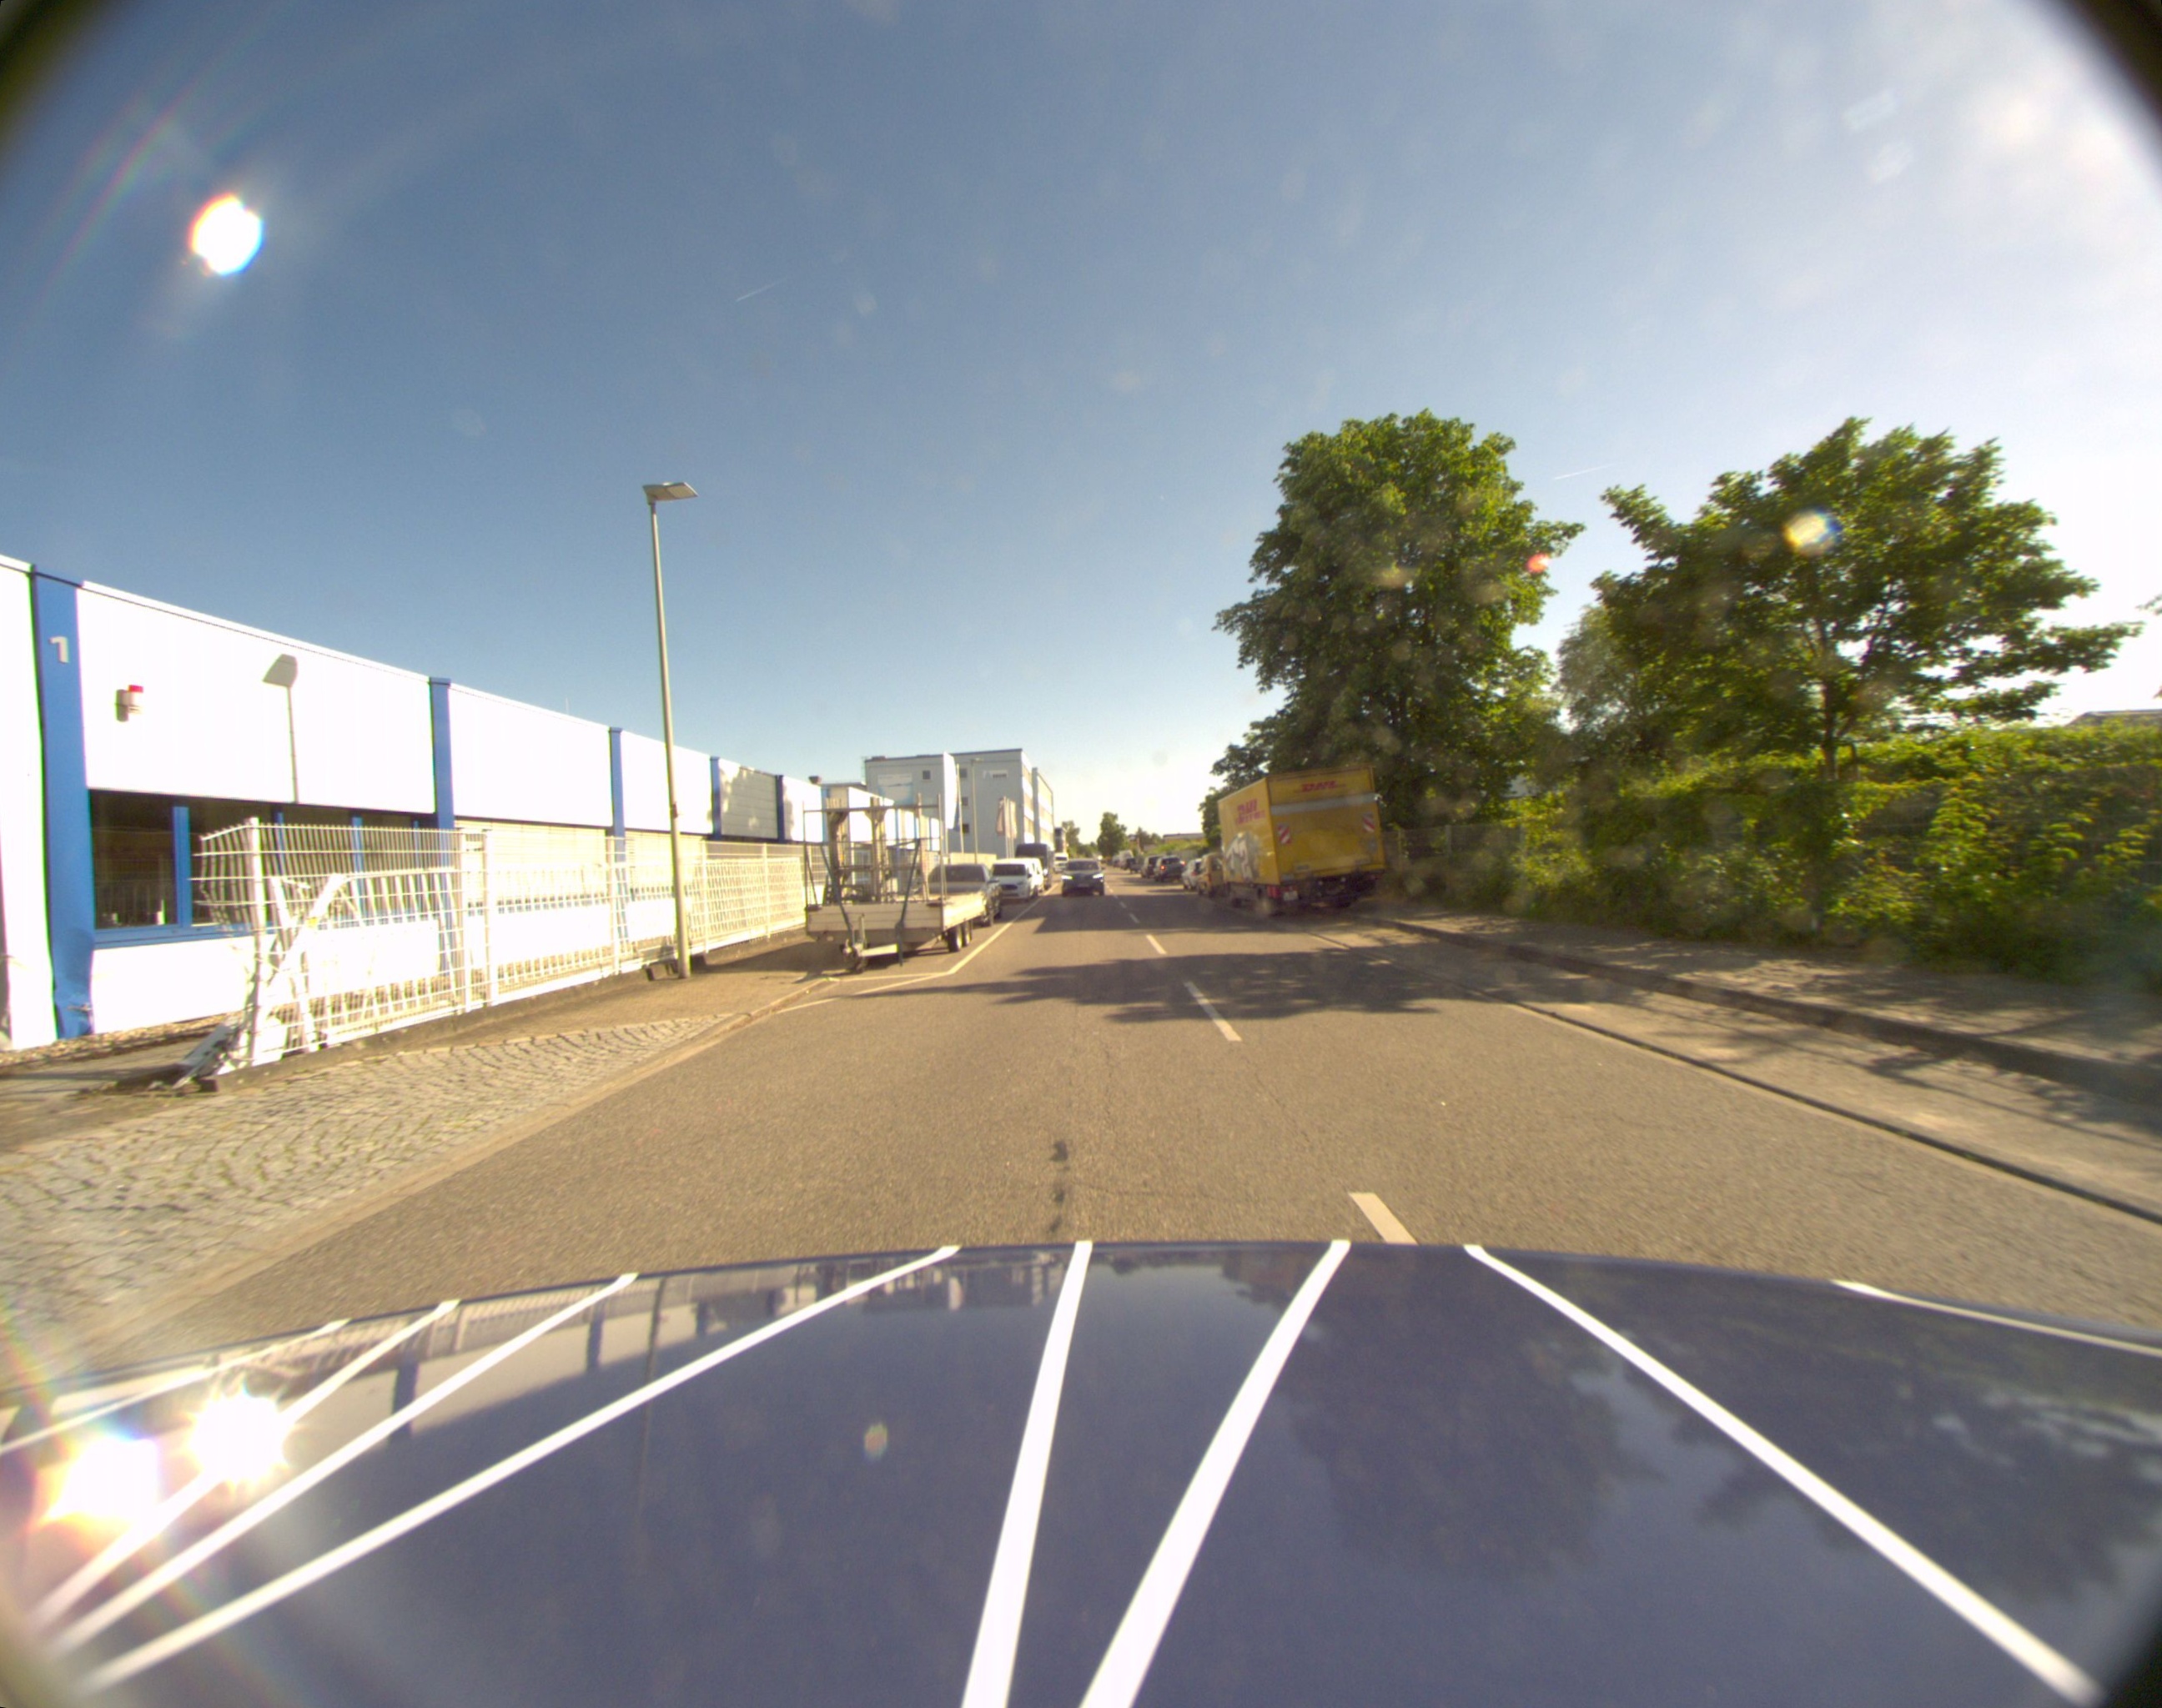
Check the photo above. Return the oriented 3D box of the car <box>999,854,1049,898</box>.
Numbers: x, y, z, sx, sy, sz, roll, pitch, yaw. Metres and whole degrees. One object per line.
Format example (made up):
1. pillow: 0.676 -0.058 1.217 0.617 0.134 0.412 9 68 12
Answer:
1. car: -2.734 1.016 37.561 1.890 1.836 5.103 -4 1 1

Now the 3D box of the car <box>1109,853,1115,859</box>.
1. car: 9.566 0.578 235.222 1.779 1.838 4.616 -4 0 4

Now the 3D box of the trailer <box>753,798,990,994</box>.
1. trailer: -3.280 0.581 13.527 2.466 2.657 5.701 -2 0 1

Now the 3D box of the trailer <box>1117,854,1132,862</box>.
1. trailer: 7.599 0.734 133.015 2.382 1.073 6.246 -6 -1 1

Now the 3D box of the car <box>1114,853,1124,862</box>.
1. car: 7.660 0.690 152.337 1.804 1.501 5.003 -6 0 2

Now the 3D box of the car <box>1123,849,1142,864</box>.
1. car: 6.787 0.329 101.126 2.035 1.684 5.106 -6 0 0

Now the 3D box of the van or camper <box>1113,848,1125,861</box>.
1. van or camper: 8.209 0.217 163.158 2.075 2.534 6.404 -6 0 1

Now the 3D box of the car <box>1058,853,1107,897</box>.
1. car: 0.088 0.889 34.481 1.998 1.750 5.015 -3 0 1

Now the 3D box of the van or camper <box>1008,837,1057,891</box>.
1. van or camper: -2.686 0.491 43.547 2.146 2.743 6.161 -4 1 1

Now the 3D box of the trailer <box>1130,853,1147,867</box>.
1. trailer: 6.021 0.636 79.910 1.480 1.346 3.078 -4 0 1

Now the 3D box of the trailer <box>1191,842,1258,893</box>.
1. trailer: 5.889 0.525 31.729 1.998 1.930 4.415 -2 0 1

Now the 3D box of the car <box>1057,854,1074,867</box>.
1. car: -1.912 0.846 94.339 1.899 1.397 5.123 -4 1 1

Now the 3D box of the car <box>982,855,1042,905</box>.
1. car: -2.840 1.023 32.319 1.860 1.820 5.168 -4 1 1

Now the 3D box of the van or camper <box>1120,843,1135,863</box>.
1. van or camper: 6.934 -0.099 113.977 1.971 2.669 5.948 -7 0 3

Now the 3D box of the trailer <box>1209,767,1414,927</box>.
1. trailer: 5.762 -0.165 20.812 2.999 3.423 8.160 -2 0 0

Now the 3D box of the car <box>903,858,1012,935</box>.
1. car: -3.172 1.033 20.585 1.999 1.657 4.731 -4 1 1

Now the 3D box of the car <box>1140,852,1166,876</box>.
1. car: 5.762 0.773 61.262 1.796 1.720 4.803 -4 0 3

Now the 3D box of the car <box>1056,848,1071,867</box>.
1. car: -2.449 0.498 105.875 1.999 2.582 6.051 0 -1 0

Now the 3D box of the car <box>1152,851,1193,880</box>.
1. car: 6.068 0.751 51.032 1.913 1.653 4.463 -6 0 -2

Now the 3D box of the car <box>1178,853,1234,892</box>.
1. car: 6.086 0.865 37.658 1.912 1.584 5.025 -6 0 2
